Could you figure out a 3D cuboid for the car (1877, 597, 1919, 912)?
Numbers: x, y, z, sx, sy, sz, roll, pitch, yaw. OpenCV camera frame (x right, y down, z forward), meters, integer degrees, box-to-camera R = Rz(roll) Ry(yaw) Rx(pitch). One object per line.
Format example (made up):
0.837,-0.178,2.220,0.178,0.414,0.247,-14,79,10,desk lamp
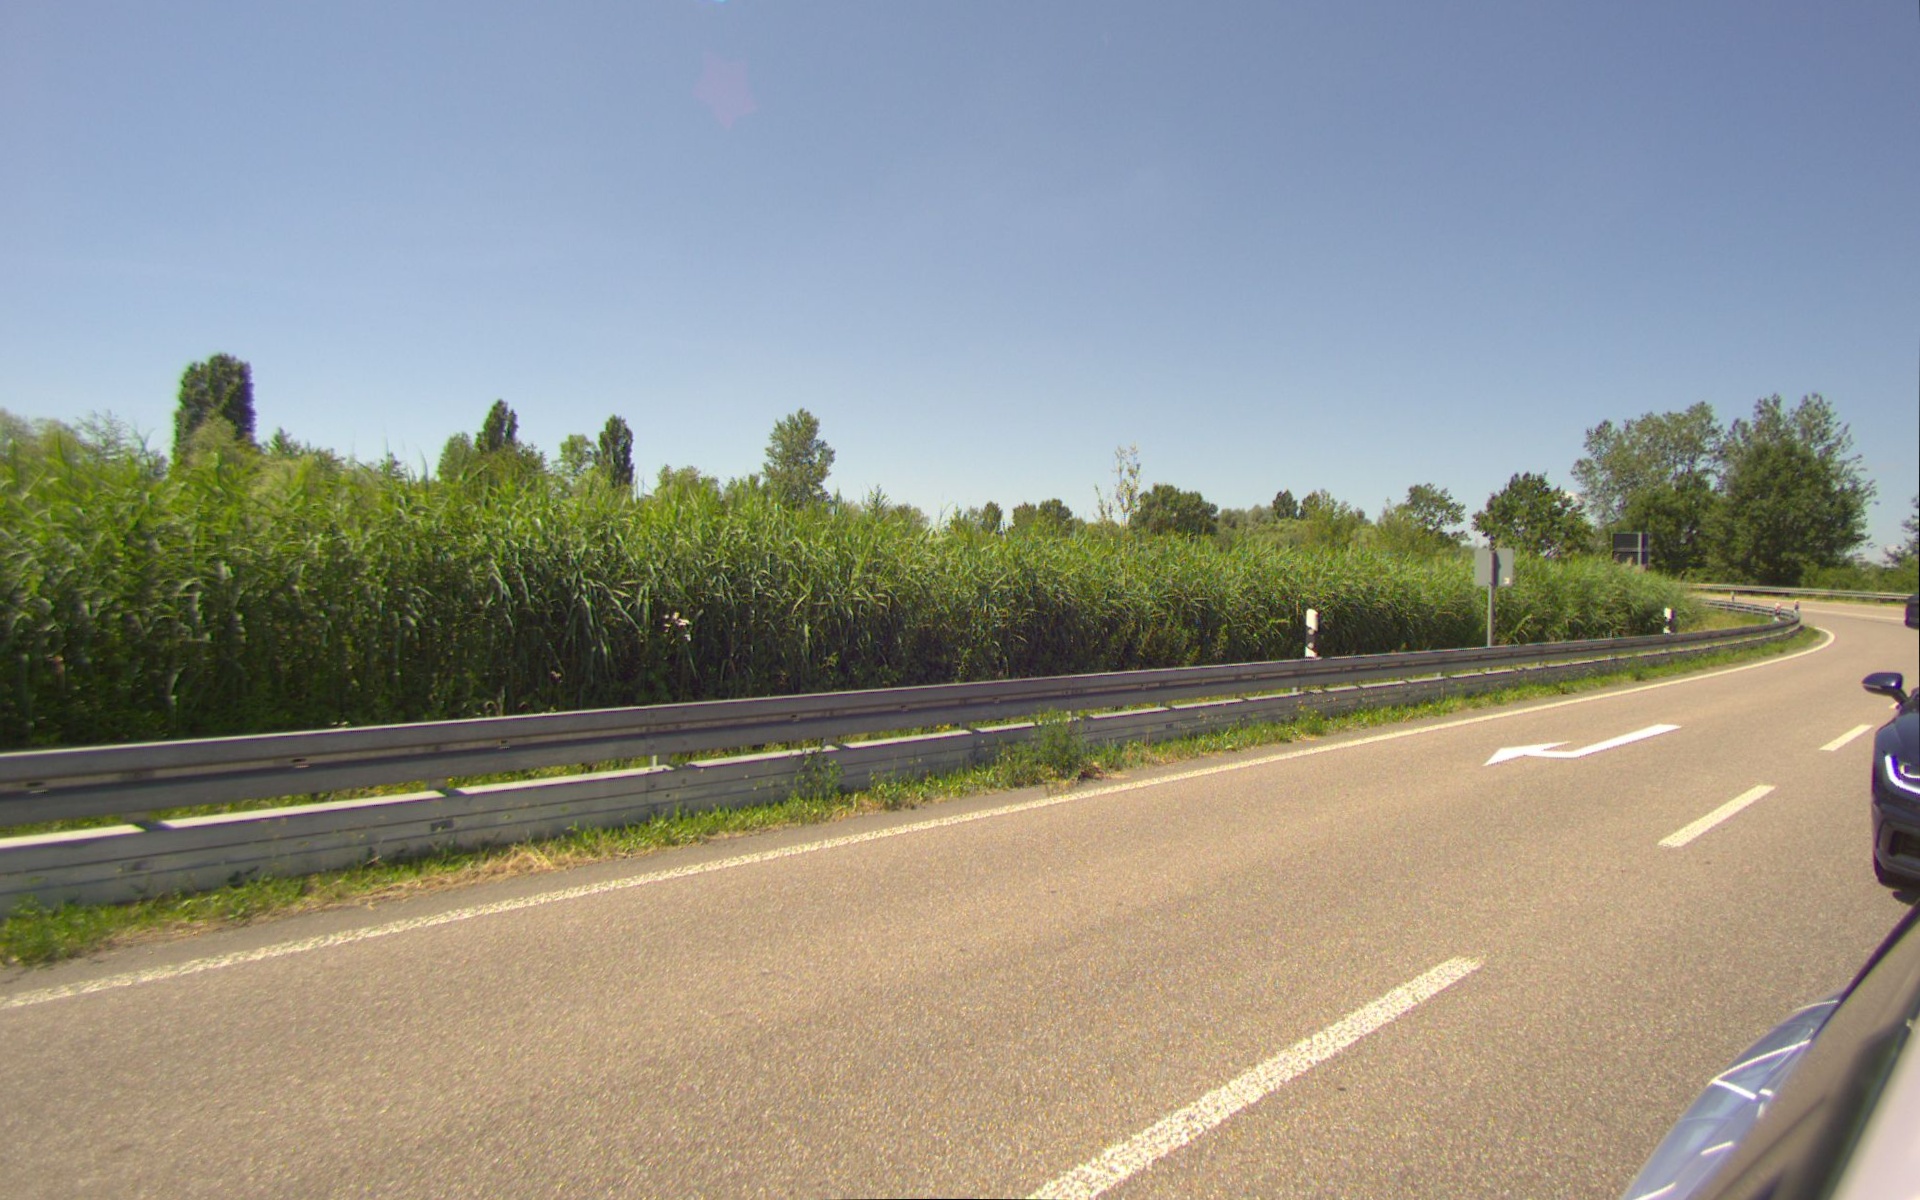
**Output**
6.337,0.698,5.373,3.931,1.427,1.759,-1,1,-41,car
